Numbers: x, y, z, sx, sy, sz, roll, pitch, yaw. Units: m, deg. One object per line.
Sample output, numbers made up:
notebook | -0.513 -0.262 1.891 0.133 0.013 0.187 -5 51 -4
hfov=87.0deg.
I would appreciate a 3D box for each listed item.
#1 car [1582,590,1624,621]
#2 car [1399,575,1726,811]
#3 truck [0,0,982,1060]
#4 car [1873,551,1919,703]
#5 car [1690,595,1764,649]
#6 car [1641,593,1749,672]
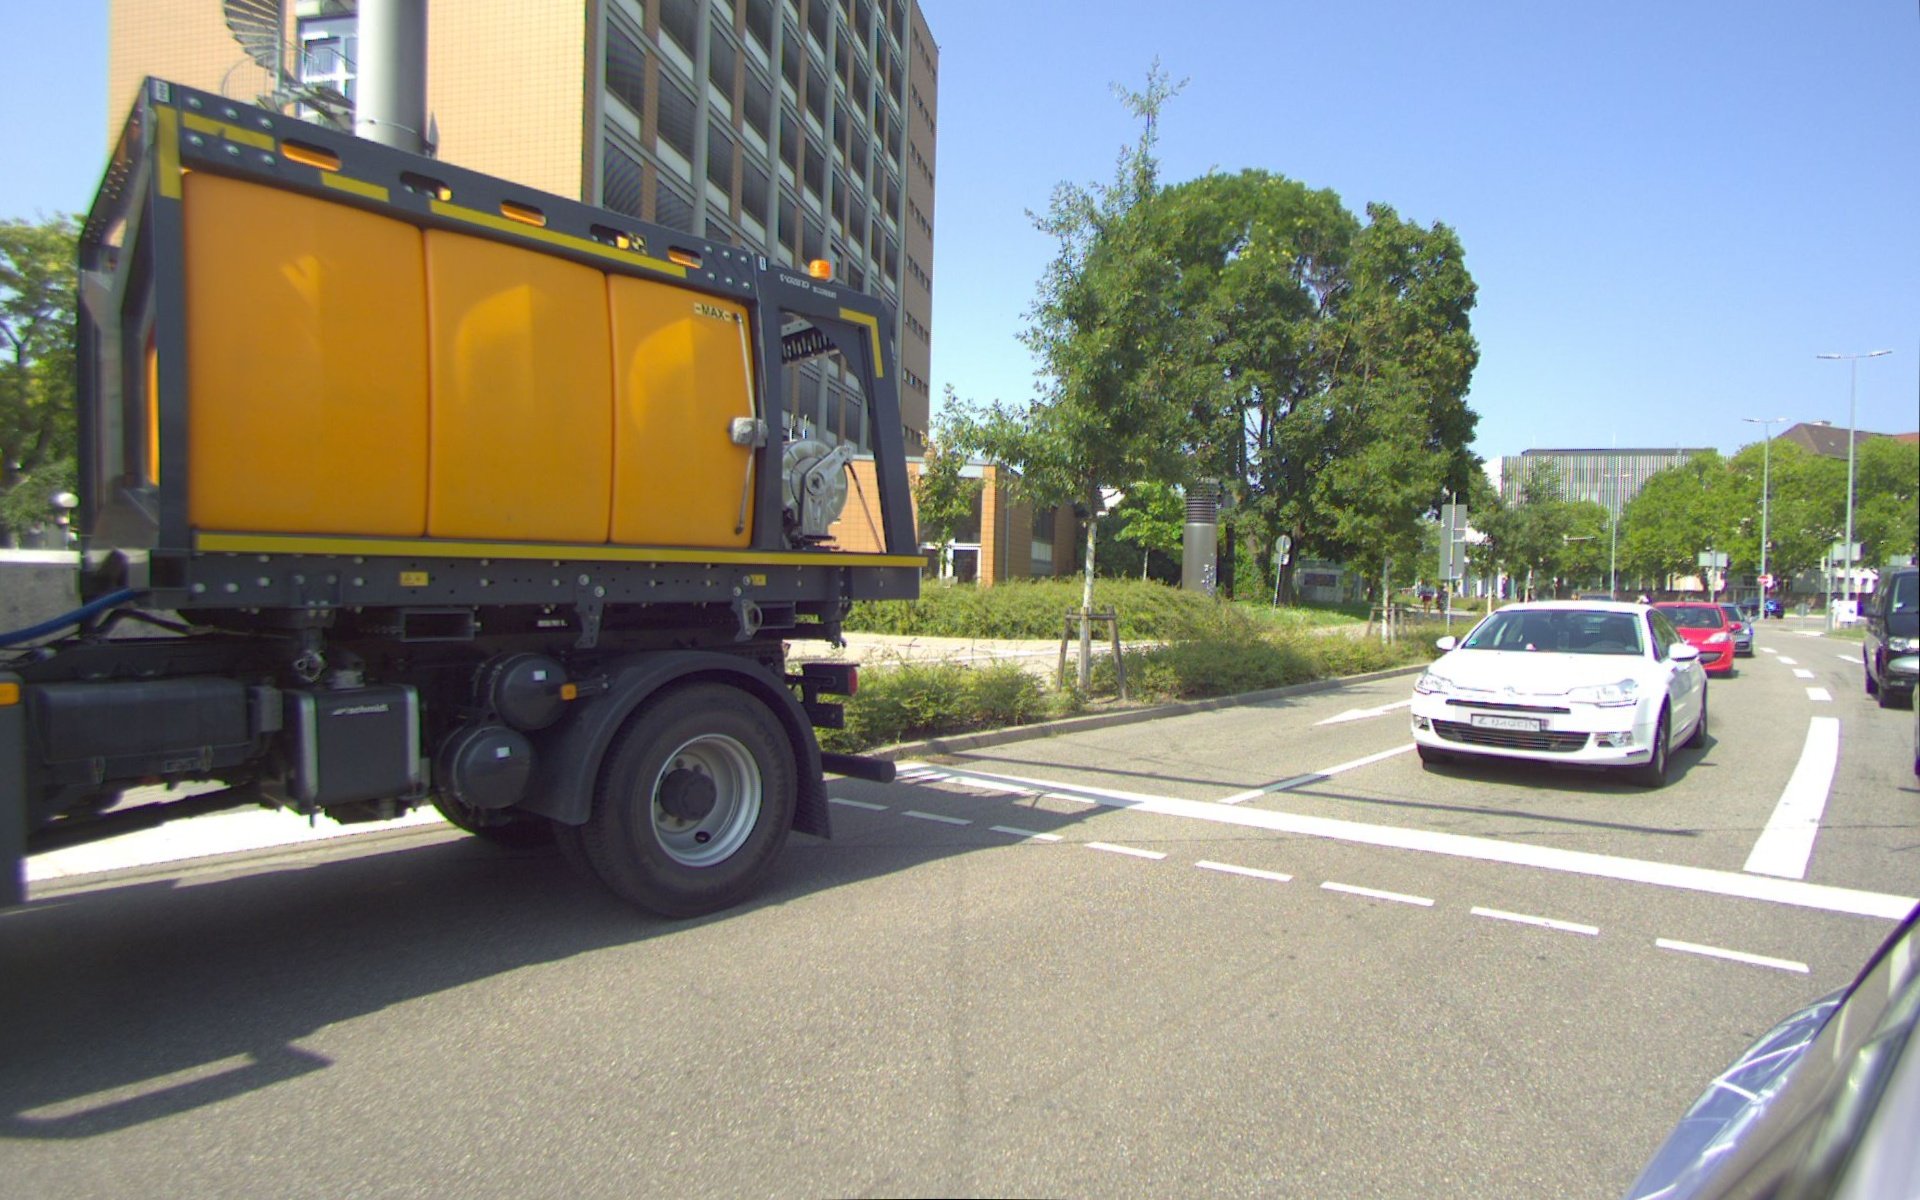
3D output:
car | 31.441 0.247 49.420 1.607 1.440 3.562 2 1 34
car | 5.726 0.621 9.326 1.765 1.639 4.533 0 1 42
truck | -3.396 -0.358 4.271 3.032 3.270 7.077 0 0 43
car | 14.459 0.372 14.457 1.895 1.955 4.807 2 2 44
car | 20.752 0.546 27.421 1.509 1.355 3.461 0 1 37
car | 14.861 0.598 20.410 1.511 1.426 3.310 2 1 40
